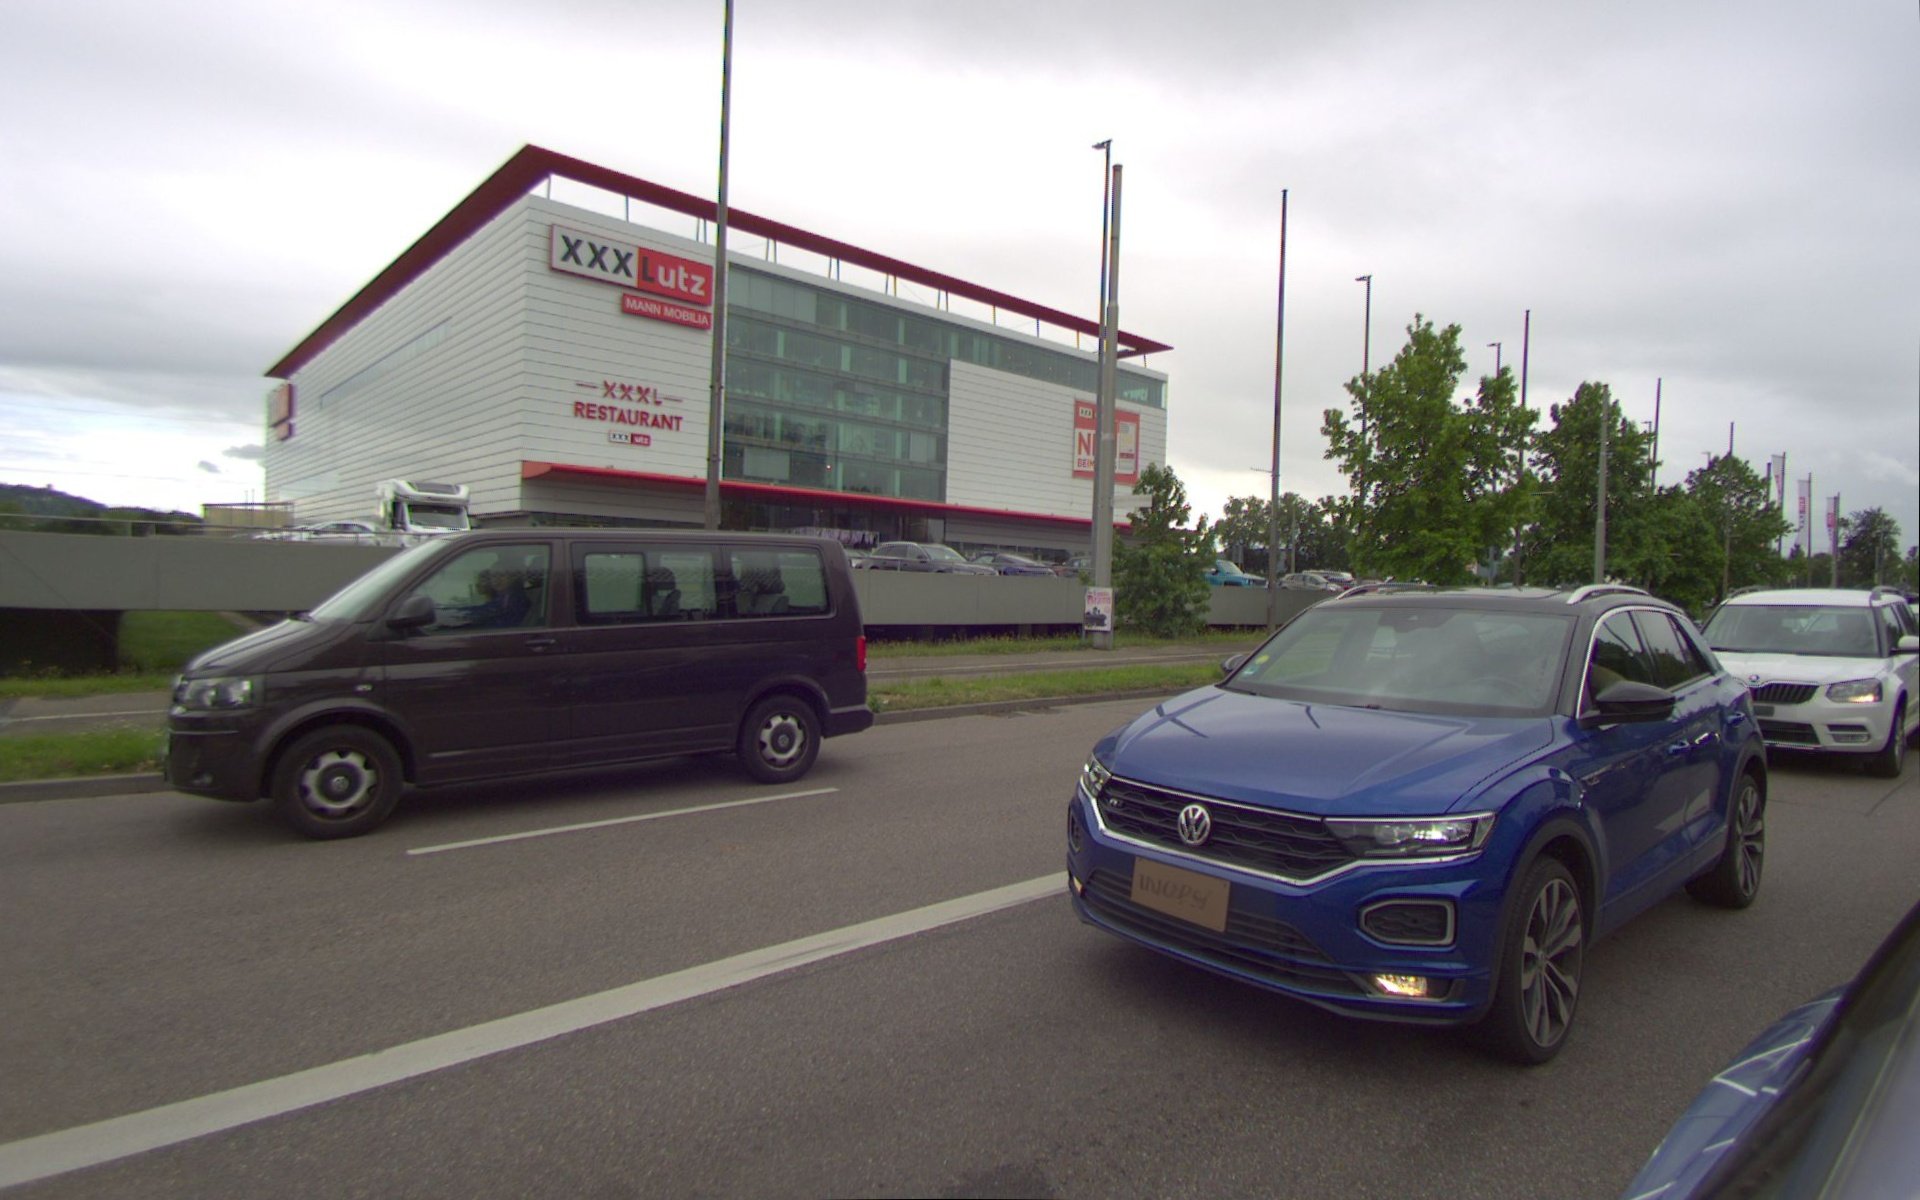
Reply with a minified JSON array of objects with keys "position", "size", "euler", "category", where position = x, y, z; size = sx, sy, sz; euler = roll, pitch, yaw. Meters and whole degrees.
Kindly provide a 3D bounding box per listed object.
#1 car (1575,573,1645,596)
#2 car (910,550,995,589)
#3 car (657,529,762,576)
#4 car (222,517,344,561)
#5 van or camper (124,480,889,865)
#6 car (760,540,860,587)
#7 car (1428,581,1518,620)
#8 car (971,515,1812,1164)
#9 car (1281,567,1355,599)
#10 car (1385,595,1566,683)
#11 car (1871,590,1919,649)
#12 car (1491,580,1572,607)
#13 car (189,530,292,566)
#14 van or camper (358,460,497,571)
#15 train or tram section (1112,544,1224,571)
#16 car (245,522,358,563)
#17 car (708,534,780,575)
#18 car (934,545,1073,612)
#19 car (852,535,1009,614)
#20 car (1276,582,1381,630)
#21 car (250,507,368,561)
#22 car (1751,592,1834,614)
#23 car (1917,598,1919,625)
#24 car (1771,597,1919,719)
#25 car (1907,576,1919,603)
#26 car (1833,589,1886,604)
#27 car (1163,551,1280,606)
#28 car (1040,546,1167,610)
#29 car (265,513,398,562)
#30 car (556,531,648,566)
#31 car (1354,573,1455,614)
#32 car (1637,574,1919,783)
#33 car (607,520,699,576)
[{"position":[47.506,-1.124,73.995],"size":[1.765,1.585,3.994],"euler":[-1,0,-40],"category":"car"},{"position":[-0.384,-1.437,49.093],"size":[1.967,1.761,3.991],"euler":[-1,0,-43],"category":"car"},{"position":[-8.724,-1.602,35.059],"size":[1.839,1.455,3.984],"euler":[-1,1,-44],"category":"car"},{"position":[-29.045,-2.593,43.484],"size":[4.185,1.697,1.774],"euler":[-1,0,-41],"category":"car"},{"position":[-3.159,0.353,7.710],"size":[4.852,2.039,2.163],"euler":[-1,0,-38],"category":"van or camper"},{"position":[-6.868,-1.631,46.346],"size":[4.132,2.039,1.985],"euler":[0,0,22],"category":"car"},{"position":[28.058,0.007,55.415],"size":[1.965,2.039,3.994],"euler":[0,0,-41],"category":"car"},{"position":[2.254,0.579,4.647],"size":[4.255,1.642,1.845],"euler":[-1,0,-40],"category":"car"},{"position":[22.963,-1.073,64.993],"size":[1.966,2.039,3.991],"euler":[0,0,-42],"category":"car"},{"position":[9.323,0.618,18.174],"size":[3.860,1.389,1.691],"euler":[-1,1,-43],"category":"car"},{"position":[28.165,0.523,29.516],"size":[4.297,1.645,1.798],"euler":[-1,0,-40],"category":"car"},{"position":[35.031,-0.420,62.143],"size":[1.765,1.585,3.994],"euler":[-1,0,-40],"category":"car"},{"position":[-36.775,-2.631,51.778],"size":[4.185,1.697,1.774],"euler":[-1,0,-41],"category":"car"},{"position":[-17.996,-2.640,33.951],"size":[2.667,3.175,7.226],"euler":[0,0,-40],"category":"van or camper"},{"position":[39.561,-8.039,194.716],"size":[3.572,4.899,23.232],"euler":[0,1,-43],"category":"train or tram section"},{"position":[-30.171,-2.587,46.418],"size":[4.185,1.697,1.774],"euler":[-1,0,-41],"category":"car"},{"position":[-11.407,-2.357,53.342],"size":[1.966,2.039,3.991],"euler":[0,0,-42],"category":"car"},{"position":[1.263,-0.623,30.623],"size":[1.967,1.872,3.991],"euler":[-1,0,-43],"category":"car"},{"position":[-0.908,-0.676,28.642],"size":[1.967,2.039,4.522],"euler":[0,0,-43],"category":"car"},{"position":[16.413,0.223,45.181],"size":[1.966,2.039,3.991],"euler":[0,0,-42],"category":"car"},{"position":[-26.836,-2.666,41.772],"size":[3.929,2.039,1.998],"euler":[-1,0,-40],"category":"car"},{"position":[57.681,0.193,70.180],"size":[1.771,1.433,4.212],"euler":[-1,1,-41],"category":"car"},{"position":[58.714,0.754,60.509],"size":[4.144,1.594,1.800],"euler":[3,-2,-41],"category":"car"},{"position":[12.804,0.698,13.970],"size":[4.145,1.433,1.800],"euler":[-1,0,-41],"category":"car"},{"position":[82.966,-0.847,86.999],"size":[3.933,2.270,1.996],"euler":[1,1,-44],"category":"car"},{"position":[118.366,-0.460,133.157],"size":[1.966,2.039,5.081],"euler":[0,0,-42],"category":"car"},{"position":[10.075,-0.799,39.187],"size":[1.966,2.039,3.991],"euler":[0,0,-42],"category":"car"},{"position":[4.835,-0.711,34.459],"size":[1.966,2.039,3.991],"euler":[0,0,-42],"category":"car"},{"position":[-24.310,-2.377,39.224],"size":[4.185,1.697,1.774],"euler":[-1,0,-41],"category":"car"},{"position":[-18.716,-2.667,53.013],"size":[4.185,1.697,1.774],"euler":[-1,0,-41],"category":"car"},{"position":[22.651,-0.338,51.635],"size":[1.966,2.039,4.317],"euler":[0,0,-42],"category":"car"},{"position":[8.477,0.591,10.056],"size":[4.297,1.645,1.798],"euler":[-1,0,-40],"category":"car"},{"position":[-11.707,-1.914,38.461],"size":[1.839,1.972,3.859],"euler":[0,0,-44],"category":"car"}]
